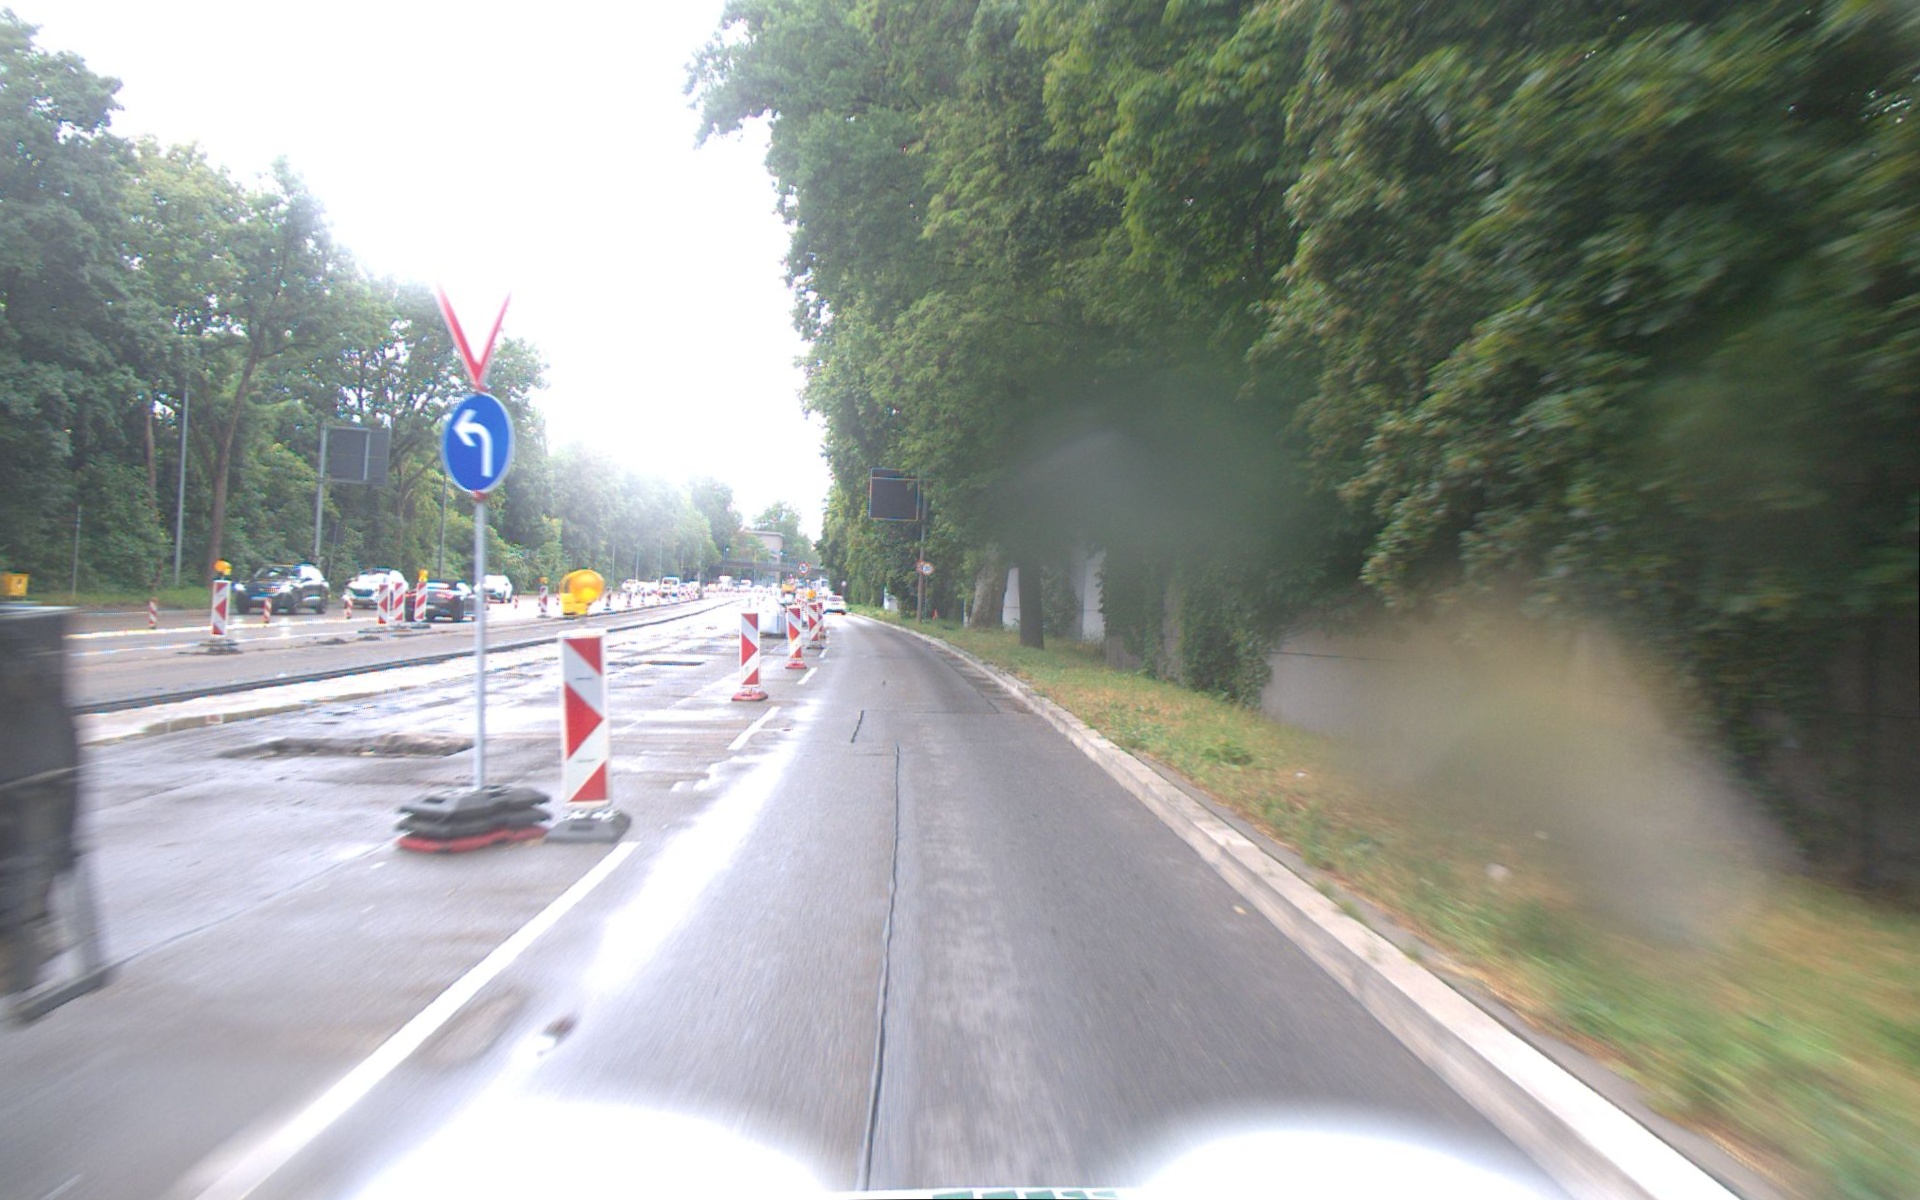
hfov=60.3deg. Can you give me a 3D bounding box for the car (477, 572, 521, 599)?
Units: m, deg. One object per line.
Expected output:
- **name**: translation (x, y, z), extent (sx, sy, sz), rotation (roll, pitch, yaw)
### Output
- **car**: translation (-26.901, -0.842, 96.618), extent (1.633, 1.568, 4.154), rotation (0, 0, -4)

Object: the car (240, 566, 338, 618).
- **car**: translation (-23.146, -0.277, 57.221), extent (1.742, 1.692, 4.910), rotation (1, 0, -5)

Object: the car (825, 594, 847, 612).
- **car**: translation (-9.771, 0.208, 130.213), extent (1.665, 1.359, 3.486), rotation (1, 0, -6)

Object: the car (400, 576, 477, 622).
- **car**: translation (-17.618, -0.059, 56.020), extent (1.576, 1.429, 4.037), rotation (3, 0, -5)

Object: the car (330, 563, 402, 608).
- **car**: translation (-25.151, -0.606, 70.165), extent (1.742, 1.781, 4.375), rotation (2, 0, -5)

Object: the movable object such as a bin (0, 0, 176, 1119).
- **movable object such as a bin**: translation (-3.424, -0.134, 2.698), extent (1.767, 3.037, 5.244), rotation (2, 0, -1)
